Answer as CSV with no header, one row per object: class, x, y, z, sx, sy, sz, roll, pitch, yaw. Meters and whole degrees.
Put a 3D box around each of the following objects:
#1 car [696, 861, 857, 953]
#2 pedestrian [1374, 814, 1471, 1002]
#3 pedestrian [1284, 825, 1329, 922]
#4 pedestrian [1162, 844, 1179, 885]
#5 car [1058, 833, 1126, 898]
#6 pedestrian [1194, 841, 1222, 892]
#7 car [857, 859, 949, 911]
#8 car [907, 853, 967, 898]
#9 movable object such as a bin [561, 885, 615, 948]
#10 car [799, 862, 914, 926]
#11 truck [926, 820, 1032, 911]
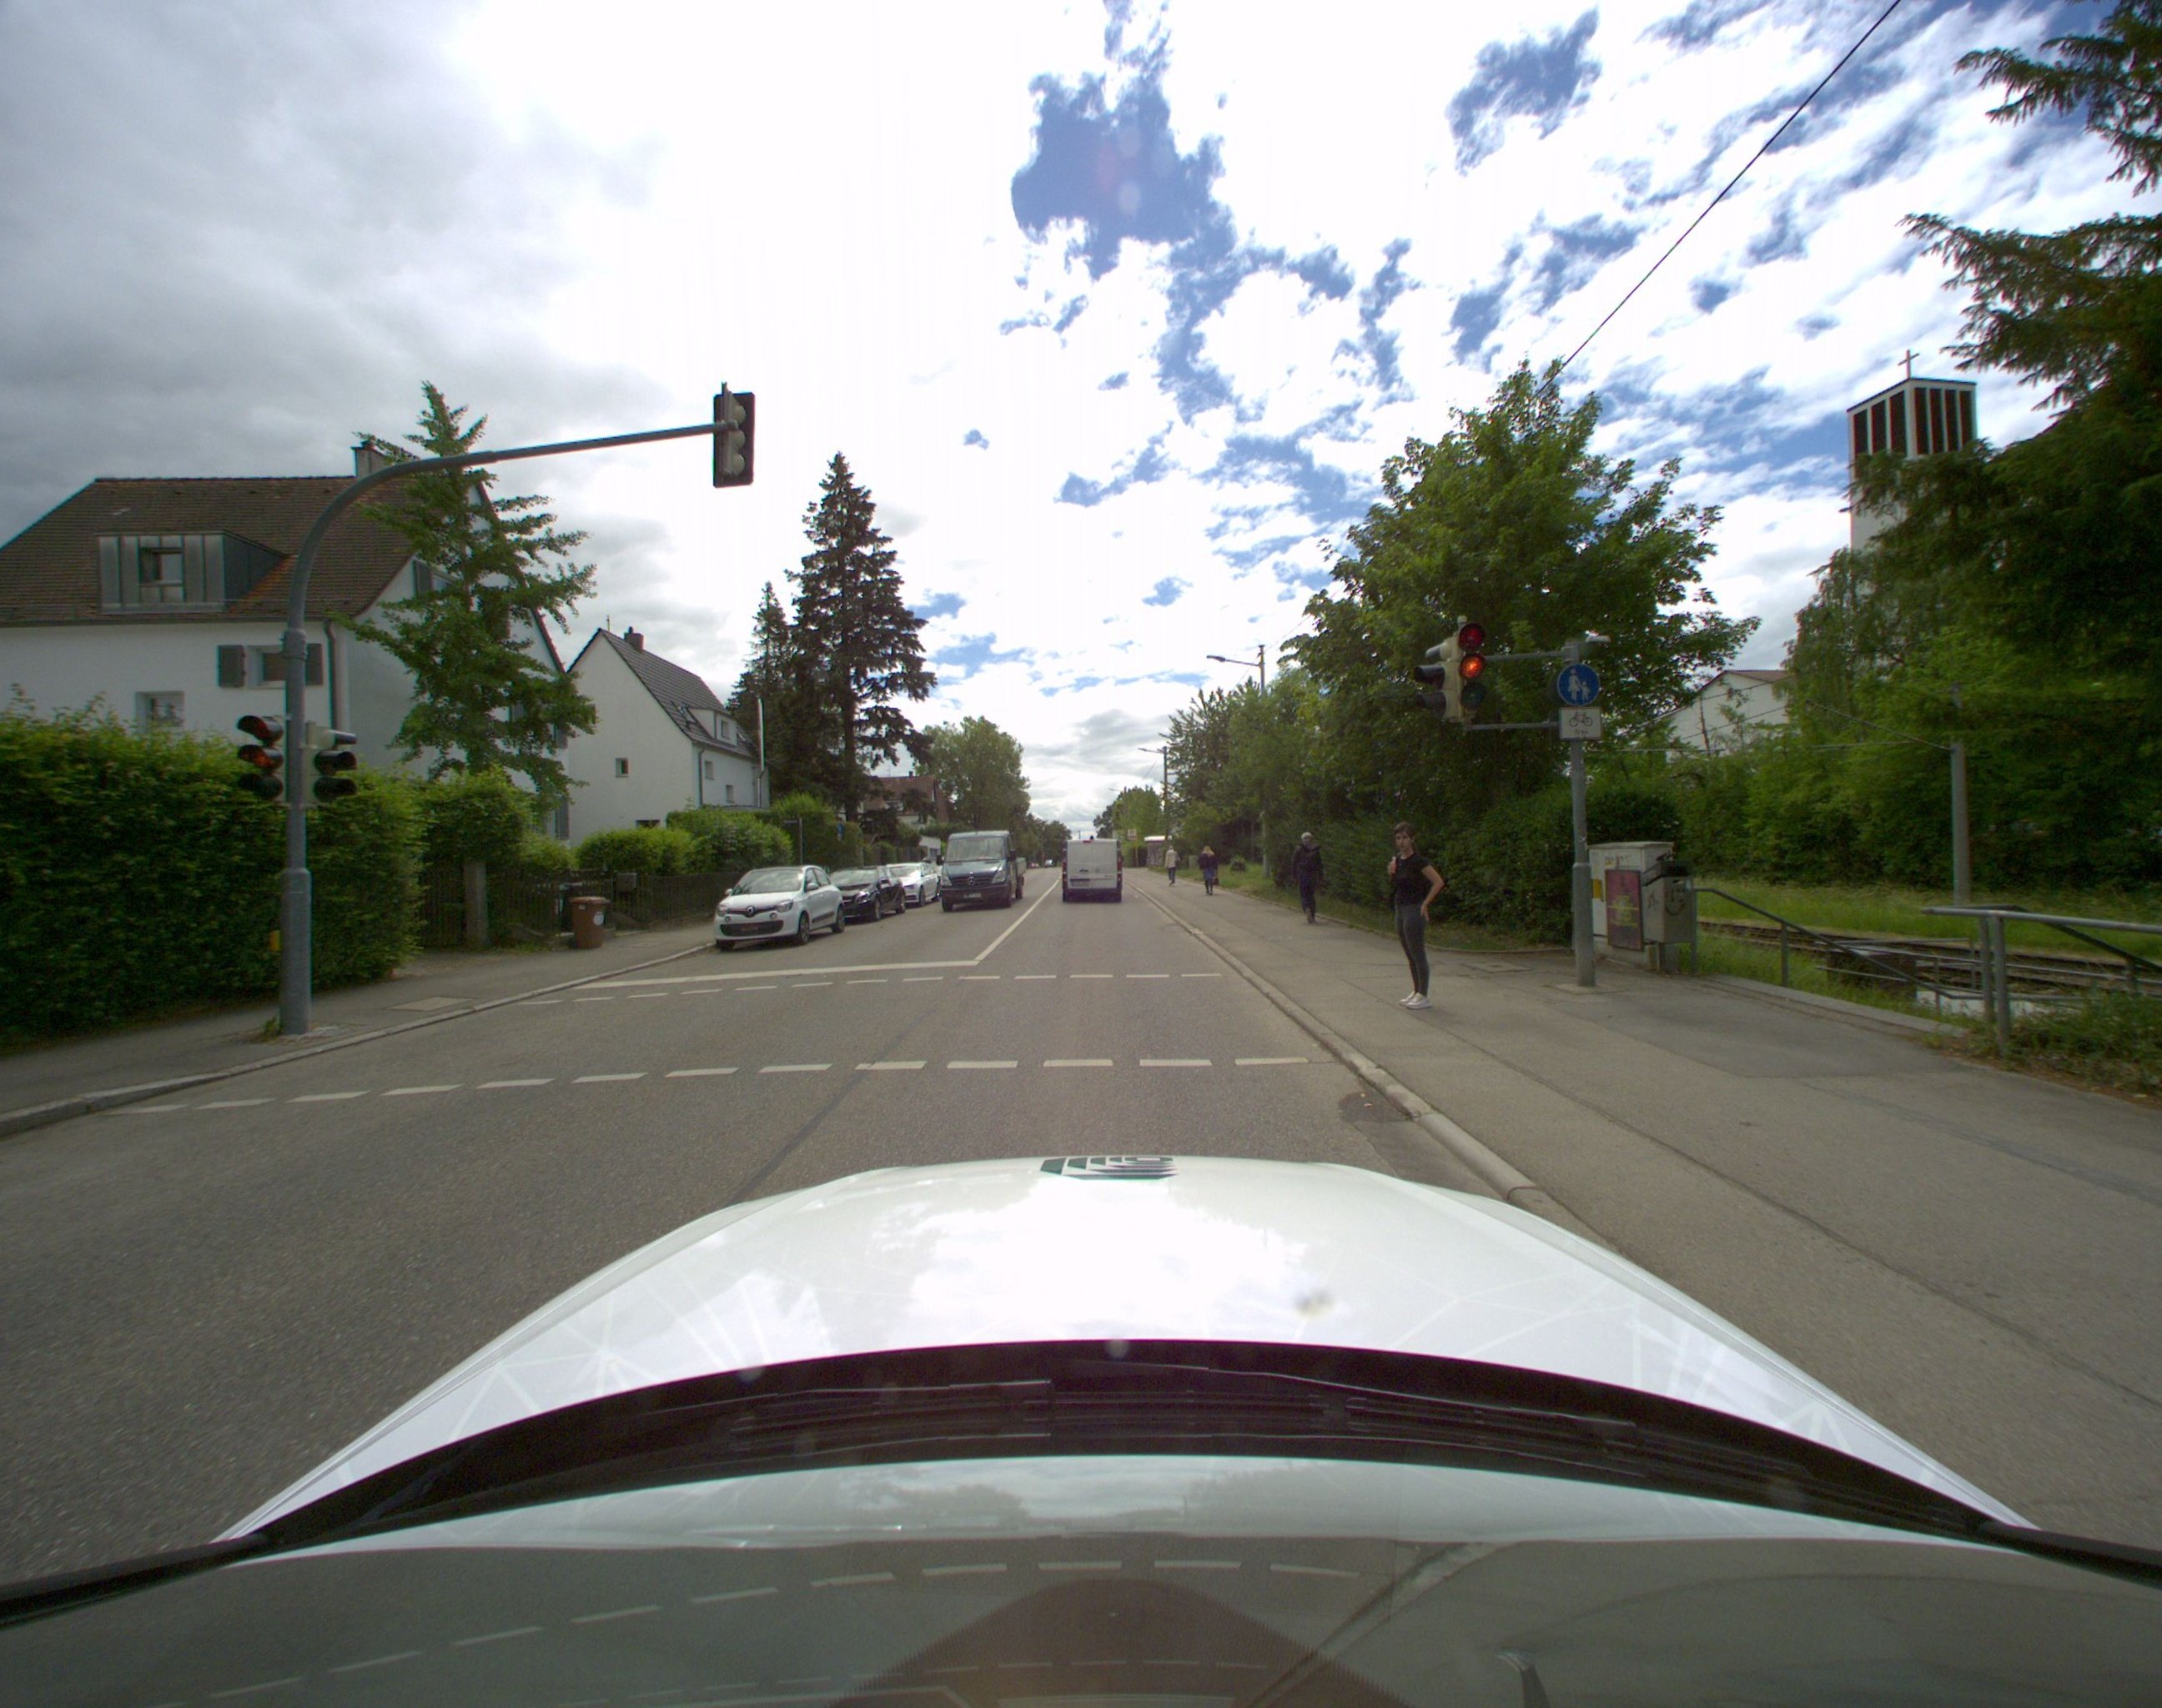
car,-6.114,0.989,16.837,1.696,1.543,3.744,-3,0,2
pedestrian,3.152,0.478,7.571,0.644,1.664,0.709,0,0,5
pedestrian,4.500,0.380,16.271,0.741,1.883,0.803,0,0,6
pedestrian,3.714,0.431,33.722,0.683,1.659,0.691,0,0,4
car,0.365,0.342,26.893,2.028,1.945,4.993,0,0,1
pedestrian,4.206,0.422,26.970,0.836,1.659,0.767,0,0,4
car,-5.984,0.980,28.047,1.799,1.459,5.071,-3,0,2
car,-6.054,0.846,34.697,1.621,1.678,4.582,-4,0,0
movable object such as a bin,-9.043,1.129,14.957,0.513,1.080,0.749,1,0,1
car,-6.009,1.013,22.323,1.736,1.410,4.325,-3,0,2
truck,-3.019,0.287,25.861,2.181,2.371,6.907,-3,0,1
